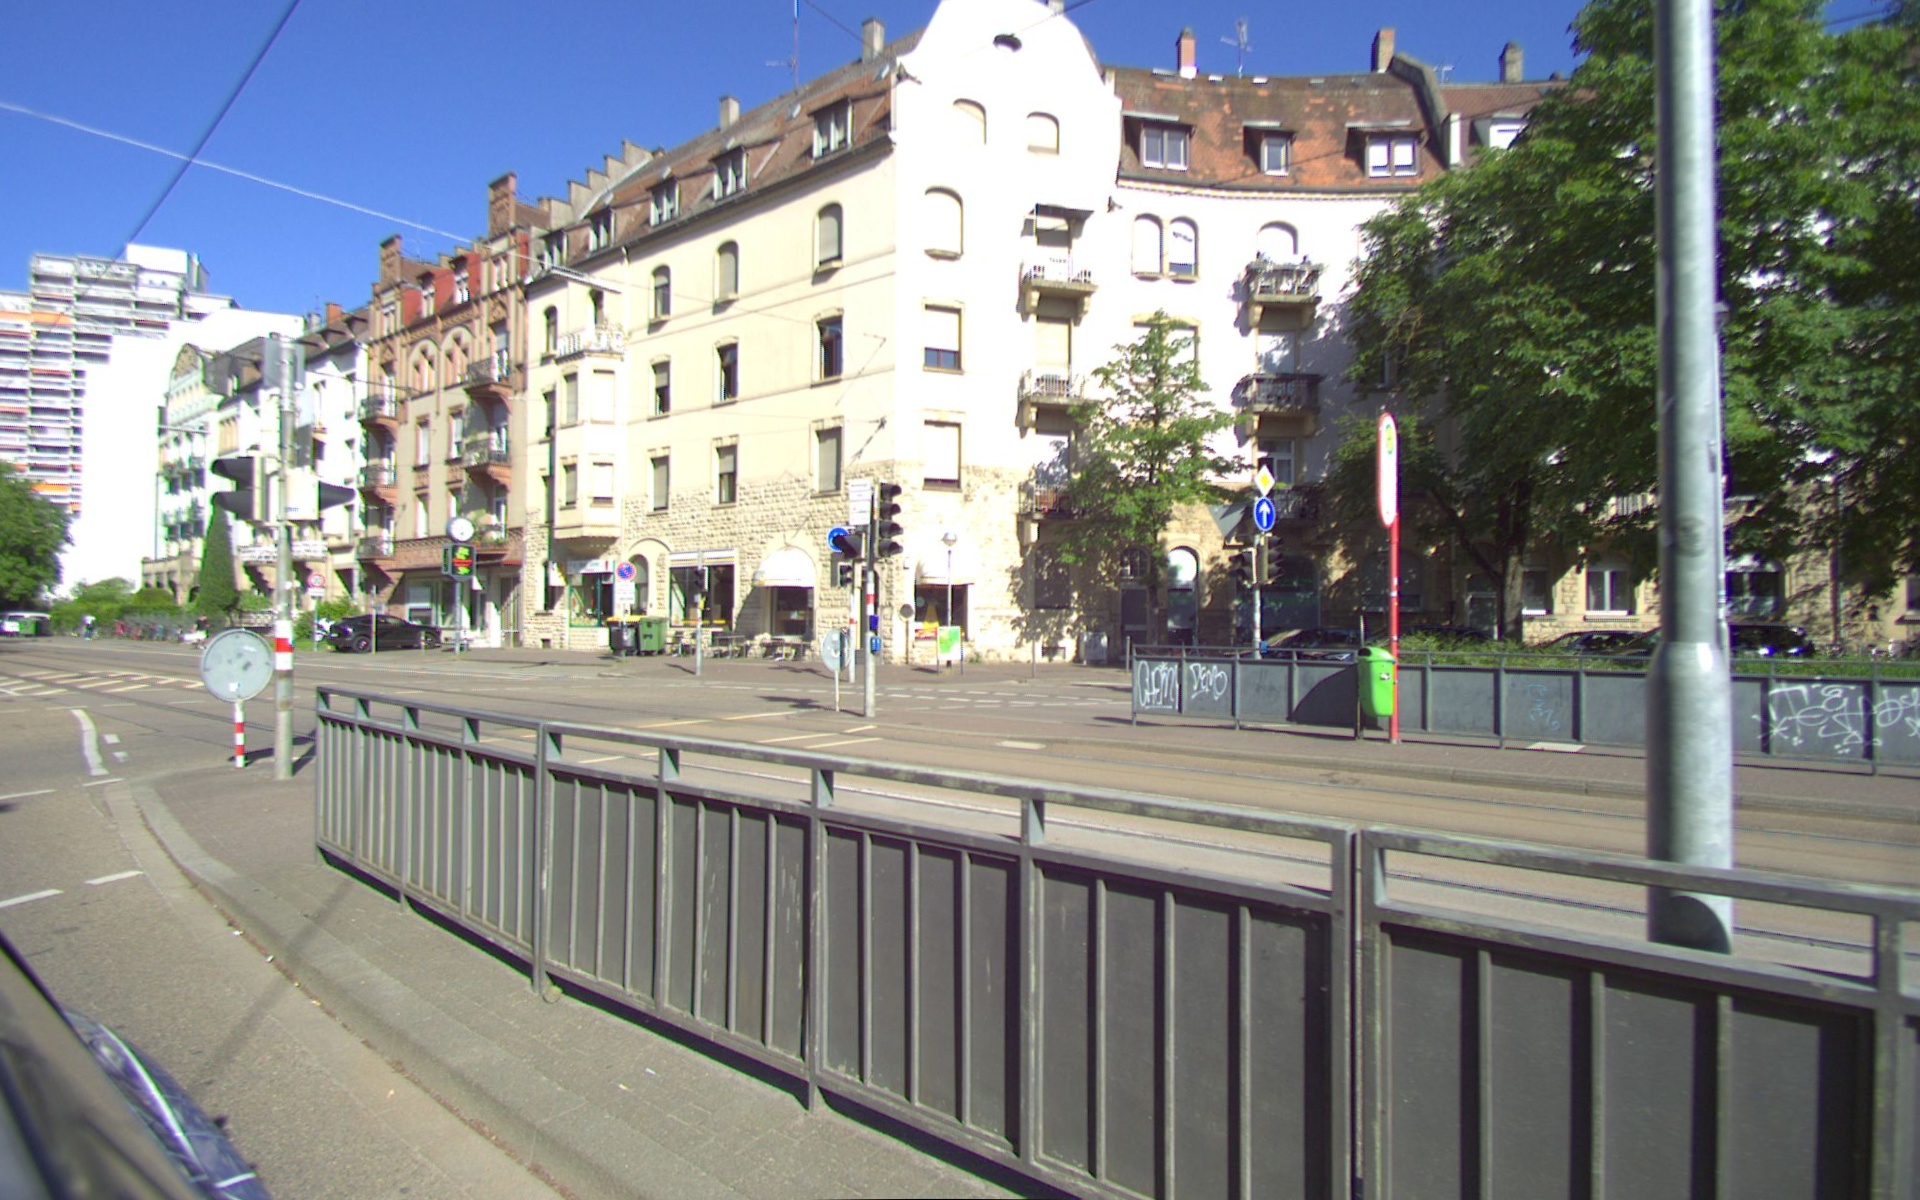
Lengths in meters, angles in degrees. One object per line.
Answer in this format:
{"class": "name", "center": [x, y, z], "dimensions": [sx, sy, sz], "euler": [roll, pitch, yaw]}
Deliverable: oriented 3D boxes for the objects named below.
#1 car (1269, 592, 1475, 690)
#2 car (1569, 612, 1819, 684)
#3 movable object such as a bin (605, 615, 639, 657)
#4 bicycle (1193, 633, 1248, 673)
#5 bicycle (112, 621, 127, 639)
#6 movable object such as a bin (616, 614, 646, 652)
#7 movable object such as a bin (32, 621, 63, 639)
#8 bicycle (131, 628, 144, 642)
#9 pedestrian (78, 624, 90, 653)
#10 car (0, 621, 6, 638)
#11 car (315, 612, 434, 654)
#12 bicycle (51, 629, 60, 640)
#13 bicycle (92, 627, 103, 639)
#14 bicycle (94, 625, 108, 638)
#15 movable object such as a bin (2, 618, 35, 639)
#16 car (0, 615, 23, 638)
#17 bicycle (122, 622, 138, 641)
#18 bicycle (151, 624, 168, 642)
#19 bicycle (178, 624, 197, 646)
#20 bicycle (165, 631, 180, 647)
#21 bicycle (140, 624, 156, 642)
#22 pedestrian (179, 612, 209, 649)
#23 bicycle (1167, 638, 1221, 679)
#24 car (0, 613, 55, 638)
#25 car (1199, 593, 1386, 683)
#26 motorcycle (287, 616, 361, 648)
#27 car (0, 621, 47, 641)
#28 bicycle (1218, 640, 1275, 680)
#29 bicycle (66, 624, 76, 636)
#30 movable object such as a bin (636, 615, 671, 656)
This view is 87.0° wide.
{"class": "car", "center": [9.152, 0.854, 22.532], "dimensions": [3.931, 2.029, 2.007], "euler": [0, 0, -21]}
{"class": "car", "center": [15.555, 1.019, 21.617], "dimensions": [3.946, 1.442, 1.752], "euler": [-1, -2, 2]}
{"class": "movable object such as a bin", "center": [-11.723, 1.236, 35.108], "dimensions": [0.843, 1.391, 1.029], "euler": [0, 0, -38]}
{"class": "bicycle", "center": [7.085, 1.435, 27.627], "dimensions": [0.600, 0.988, 2.043], "euler": [0, 0, -12]}
{"class": "bicycle", "center": [-49.537, 1.755, 59.634], "dimensions": [1.815, 1.031, 0.400], "euler": [0, 0, 41]}
{"class": "movable object such as a bin", "center": [-11.646, 1.158, 35.857], "dimensions": [0.844, 1.335, 0.658], "euler": [0, 0, -38]}
{"class": "movable object such as a bin", "center": [-67.947, 2.213, 75.328], "dimensions": [2.095, 1.326, 1.482], "euler": [0, 0, 41]}
{"class": "bicycle", "center": [-46.389, 1.975, 57.072], "dimensions": [1.542, 0.767, 0.314], "euler": [0, 0, 41]}
{"class": "pedestrian", "center": [-51.717, 2.260, 59.747], "dimensions": [0.659, 1.641, 0.469], "euler": [0, 0, 41]}
{"class": "car", "center": [-83.734, 2.512, 86.547], "dimensions": [1.451, 1.446, 2.734], "euler": [0, 0, 23]}
{"class": "car", "center": [-24.391, 1.333, 42.284], "dimensions": [1.767, 1.514, 3.955], "euler": [0, 2, 34]}
{"class": "bicycle", "center": [-63.099, 2.421, 70.607], "dimensions": [1.262, 0.767, 0.293], "euler": [0, 0, 41]}
{"class": "bicycle", "center": [-54.065, 2.068, 63.435], "dimensions": [1.262, 0.767, 0.335], "euler": [0, 0, 41]}
{"class": "bicycle", "center": [-52.977, 1.945, 62.410], "dimensions": [1.581, 0.767, 0.400], "euler": [0, 0, 41]}
{"class": "movable object such as a bin", "center": [-68.285, 2.054, 73.402], "dimensions": [2.095, 1.443, 1.493], "euler": [0, 0, 41]}
{"class": "car", "center": [-80.847, 2.256, 84.671], "dimensions": [1.894, 1.885, 3.447], "euler": [0, 0, -5]}
{"class": "bicycle", "center": [-47.732, 1.796, 58.185], "dimensions": [1.815, 1.031, 0.400], "euler": [0, 0, 41]}
{"class": "bicycle", "center": [-43.385, 1.773, 54.868], "dimensions": [1.748, 0.949, 0.400], "euler": [0, 0, 41]}
{"class": "bicycle", "center": [-39.105, 1.754, 51.242], "dimensions": [1.748, 1.047, 0.400], "euler": [0, 0, 41]}
{"class": "bicycle", "center": [-40.916, 2.016, 52.557], "dimensions": [1.651, 0.767, 0.314], "euler": [0, 0, 41]}
{"class": "bicycle", "center": [-44.951, 1.834, 56.007], "dimensions": [1.648, 0.949, 0.400], "euler": [0, 0, 41]}
{"class": "pedestrian", "center": [-35.876, 1.432, 47.428], "dimensions": [0.870, 1.640, 0.858], "euler": [0, 4, 40]}
{"class": "bicycle", "center": [6.322, 1.555, 27.447], "dimensions": [0.600, 0.988, 2.043], "euler": [0, 0, -12]}
{"class": "car", "center": [-70.322, 1.911, 76.298], "dimensions": [1.438, 1.787, 3.190], "euler": [0, -3, -5]}
{"class": "car", "center": [8.058, 0.860, 24.577], "dimensions": [3.931, 2.029, 2.007], "euler": [0, 0, -21]}
{"class": "motorcycle", "center": [-31.648, 1.566, 50.404], "dimensions": [0.822, 1.467, 3.055], "euler": [0, 0, 38]}
{"class": "car", "center": [-72.638, 2.351, 78.196], "dimensions": [1.451, 1.446, 2.734], "euler": [0, 0, 23]}
{"class": "bicycle", "center": [7.842, 1.632, 27.785], "dimensions": [0.600, 0.988, 2.043], "euler": [0, 0, -12]}
{"class": "bicycle", "center": [-59.409, 1.989, 67.627], "dimensions": [1.262, 0.767, 0.293], "euler": [0, 0, 41]}
{"class": "movable object such as a bin", "center": [-10.525, 1.208, 34.797], "dimensions": [1.012, 1.391, 0.858], "euler": [0, 0, -5]}
